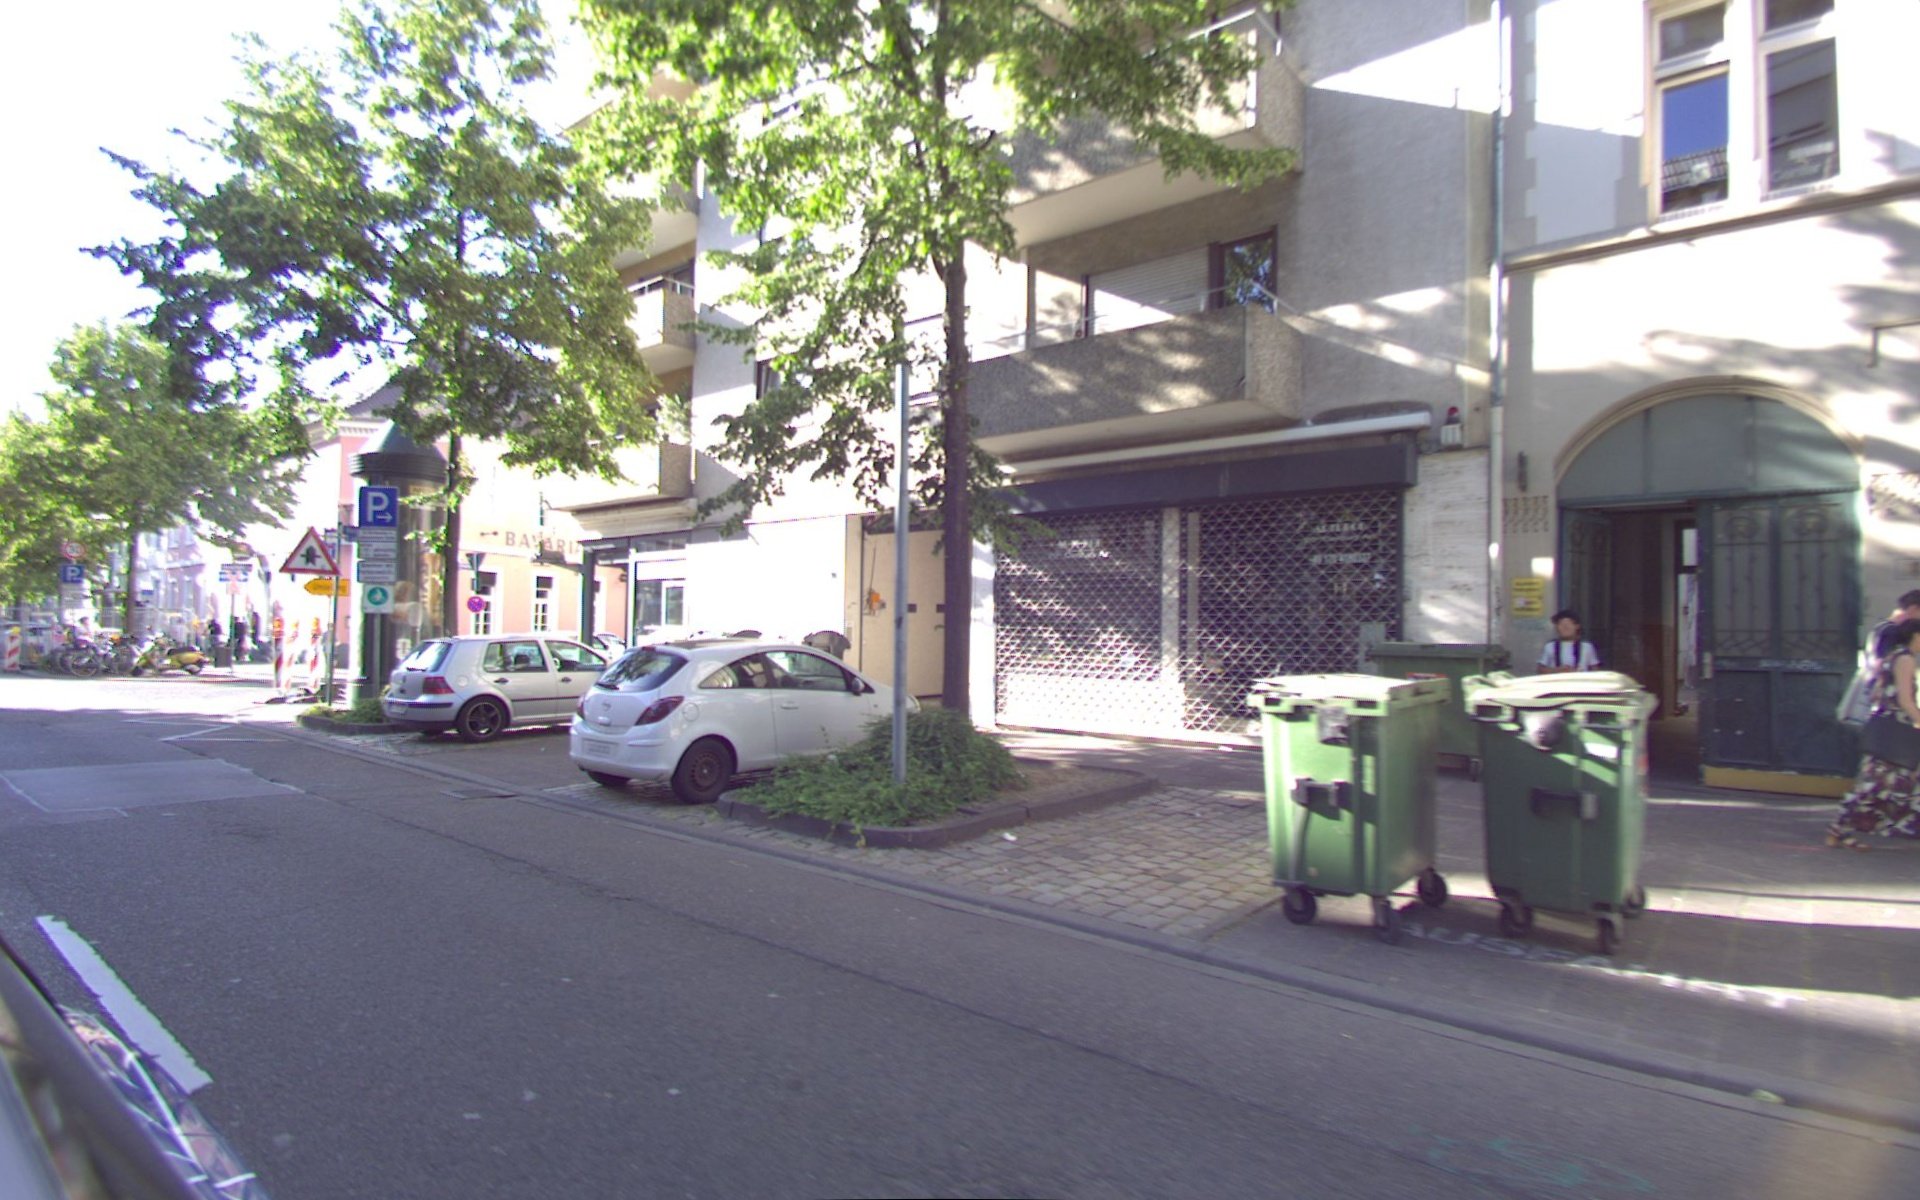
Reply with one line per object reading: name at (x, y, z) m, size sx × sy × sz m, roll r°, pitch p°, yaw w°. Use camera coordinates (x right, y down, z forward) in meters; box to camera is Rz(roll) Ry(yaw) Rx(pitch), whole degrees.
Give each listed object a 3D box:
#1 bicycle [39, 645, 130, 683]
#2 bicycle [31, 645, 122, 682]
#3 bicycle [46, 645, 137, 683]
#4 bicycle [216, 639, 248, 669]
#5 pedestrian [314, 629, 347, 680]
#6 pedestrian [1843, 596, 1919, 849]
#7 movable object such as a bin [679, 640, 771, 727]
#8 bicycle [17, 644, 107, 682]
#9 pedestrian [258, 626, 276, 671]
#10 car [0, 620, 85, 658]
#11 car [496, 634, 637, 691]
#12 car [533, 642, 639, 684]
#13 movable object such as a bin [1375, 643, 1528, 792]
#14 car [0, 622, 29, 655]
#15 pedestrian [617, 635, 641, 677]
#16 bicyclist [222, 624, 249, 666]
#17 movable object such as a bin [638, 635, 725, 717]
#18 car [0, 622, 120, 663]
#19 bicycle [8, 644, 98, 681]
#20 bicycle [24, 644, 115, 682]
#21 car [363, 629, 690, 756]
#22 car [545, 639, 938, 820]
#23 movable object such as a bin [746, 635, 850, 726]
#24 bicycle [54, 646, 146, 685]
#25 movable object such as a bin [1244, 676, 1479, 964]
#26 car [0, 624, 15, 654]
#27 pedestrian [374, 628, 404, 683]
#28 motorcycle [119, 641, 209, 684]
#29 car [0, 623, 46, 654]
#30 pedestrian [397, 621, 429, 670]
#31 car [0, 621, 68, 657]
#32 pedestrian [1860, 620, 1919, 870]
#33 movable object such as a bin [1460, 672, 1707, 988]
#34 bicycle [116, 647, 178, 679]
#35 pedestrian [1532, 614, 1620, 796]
bicycle at (-25.759, 1.867, 29.801) m, size 0.471 × 1.037 × 1.987 m, roll -1°, pitch -2°, yaw 27°
bicycle at (-26.199, 1.868, 30.040) m, size 0.471 × 1.037 × 1.987 m, roll -1°, pitch -2°, yaw 27°
bicycle at (-25.324, 1.857, 29.555) m, size 0.471 × 1.037 × 1.987 m, roll -1°, pitch -2°, yaw 27°
bicycle at (-27.114, 2.028, 37.679) m, size 1.650 × 1.096 × 0.563 m, roll -3°, pitch -5°, yaw 40°
pedestrian at (-20.041, 1.723, 32.229) m, size 0.862 × 1.614 × 0.641 m, roll -2°, pitch -3°, yaw 41°
pedestrian at (7.073, 0.874, 7.476) m, size 0.762 × 1.779 × 0.767 m, roll -1°, pitch 1°, yaw 39°
movable object such as a bin at (-4.191, 1.463, 18.056) m, size 1.258 × 1.471 × 1.022 m, roll -2°, pitch -4°, yaw 42°
bicycle at (-27.008, 1.876, 30.463) m, size 0.471 × 1.037 × 1.987 m, roll -1°, pitch -2°, yaw 27°
pedestrian at (-26.961, 1.899, 39.368) m, size 0.509 × 1.740 × 0.526 m, roll 3°, pitch -3°, yaw -32°
car at (-43.250, 1.789, 46.673) m, size 1.998 × 1.693 × 4.082 m, roll -1°, pitch -3°, yaw 39°
car at (-11.131, 1.760, 28.878) m, size 1.889 × 1.488 × 3.581 m, roll 0°, pitch -3°, yaw 18°
car at (-14.048, 2.347, 38.202) m, size 1.983 × 1.488 × 3.583 m, roll 0°, pitch -3°, yaw 16°
movable object such as a bin at (5.062, 1.155, 10.442) m, size 1.227 × 1.408 × 0.812 m, roll -1°, pitch -3°, yaw 43°
car at (-55.256, 2.142, 56.838) m, size 1.910 × 1.816 × 4.082 m, roll -1°, pitch -3°, yaw 39°
pedestrian at (-14.002, 2.377, 42.816) m, size 0.701 × 1.764 × 0.631 m, roll 0°, pitch -3°, yaw 18°
bicyclist at (-26.778, 1.653, 37.413) m, size 0.751 × 1.515 × 0.563 m, roll 1°, pitch -2°, yaw 40°
movable object such as a bin at (-5.227, 1.411, 19.009) m, size 1.258 × 1.471 × 1.022 m, roll -2°, pitch -4°, yaw 42°
car at (-38.826, 1.817, 43.307) m, size 1.998 × 1.693 × 4.082 m, roll -1°, pitch -3°, yaw 39°
bicycle at (-27.479, 1.873, 30.695) m, size 0.471 × 1.037 × 1.987 m, roll -1°, pitch -2°, yaw 27°
bicycle at (-26.581, 1.869, 30.242) m, size 0.471 × 1.037 × 1.987 m, roll -1°, pitch -2°, yaw 27°
car at (-6.066, 1.201, 14.516) m, size 1.747 × 1.475 × 3.957 m, roll 1°, pitch 0°, yaw 40°
car at (-2.059, 1.147, 10.402) m, size 1.707 × 1.475 × 3.742 m, roll -2°, pitch -3°, yaw 38°
movable object such as a bin at (-2.697, 1.312, 16.834) m, size 1.351 × 1.426 × 1.066 m, roll -2°, pitch -4°, yaw 42°
bicycle at (-24.860, 1.874, 29.287) m, size 0.471 × 1.037 × 1.987 m, roll -1°, pitch -2°, yaw 27°
movable object such as a bin at (2.228, 1.099, 5.571) m, size 0.869 × 1.312 × 1.225 m, roll -1°, pitch -3°, yaw 40°
car at (-61.031, 2.380, 62.211) m, size 1.910 × 1.816 × 4.082 m, roll -1°, pitch -3°, yaw 39°
pedestrian at (-18.410, 1.790, 32.618) m, size 0.579 × 1.740 × 0.622 m, roll -2°, pitch -4°, yaw 37°
motorcycle at (-23.392, 1.809, 29.753) m, size 0.740 × 1.194 × 1.977 m, roll -2°, pitch -3°, yaw 43°
car at (-51.305, 2.031, 53.551) m, size 1.910 × 1.606 × 4.082 m, roll -1°, pitch -3°, yaw 39°
pedestrian at (-18.774, 1.568, 34.739) m, size 0.698 × 1.675 × 0.579 m, roll 1°, pitch -3°, yaw 4°
car at (-45.265, 1.835, 48.051) m, size 1.998 × 1.693 × 4.082 m, roll -1°, pitch -3°, yaw 39°
pedestrian at (6.638, 0.967, 6.874) m, size 0.726 × 1.639 × 0.560 m, roll -1°, pitch 1°, yaw 39°
movable object such as a bin at (3.264, 1.076, 5.274) m, size 0.931 × 1.356 × 1.180 m, roll -1°, pitch -3°, yaw 40°
bicycle at (-24.966, 1.916, 31.088) m, size 1.493 × 0.958 × 0.360 m, roll 0°, pitch -1°, yaw -8°
pedestrian at (5.943, 0.984, 9.773) m, size 0.639 × 1.684 × 0.429 m, roll -1°, pitch -3°, yaw 43°
